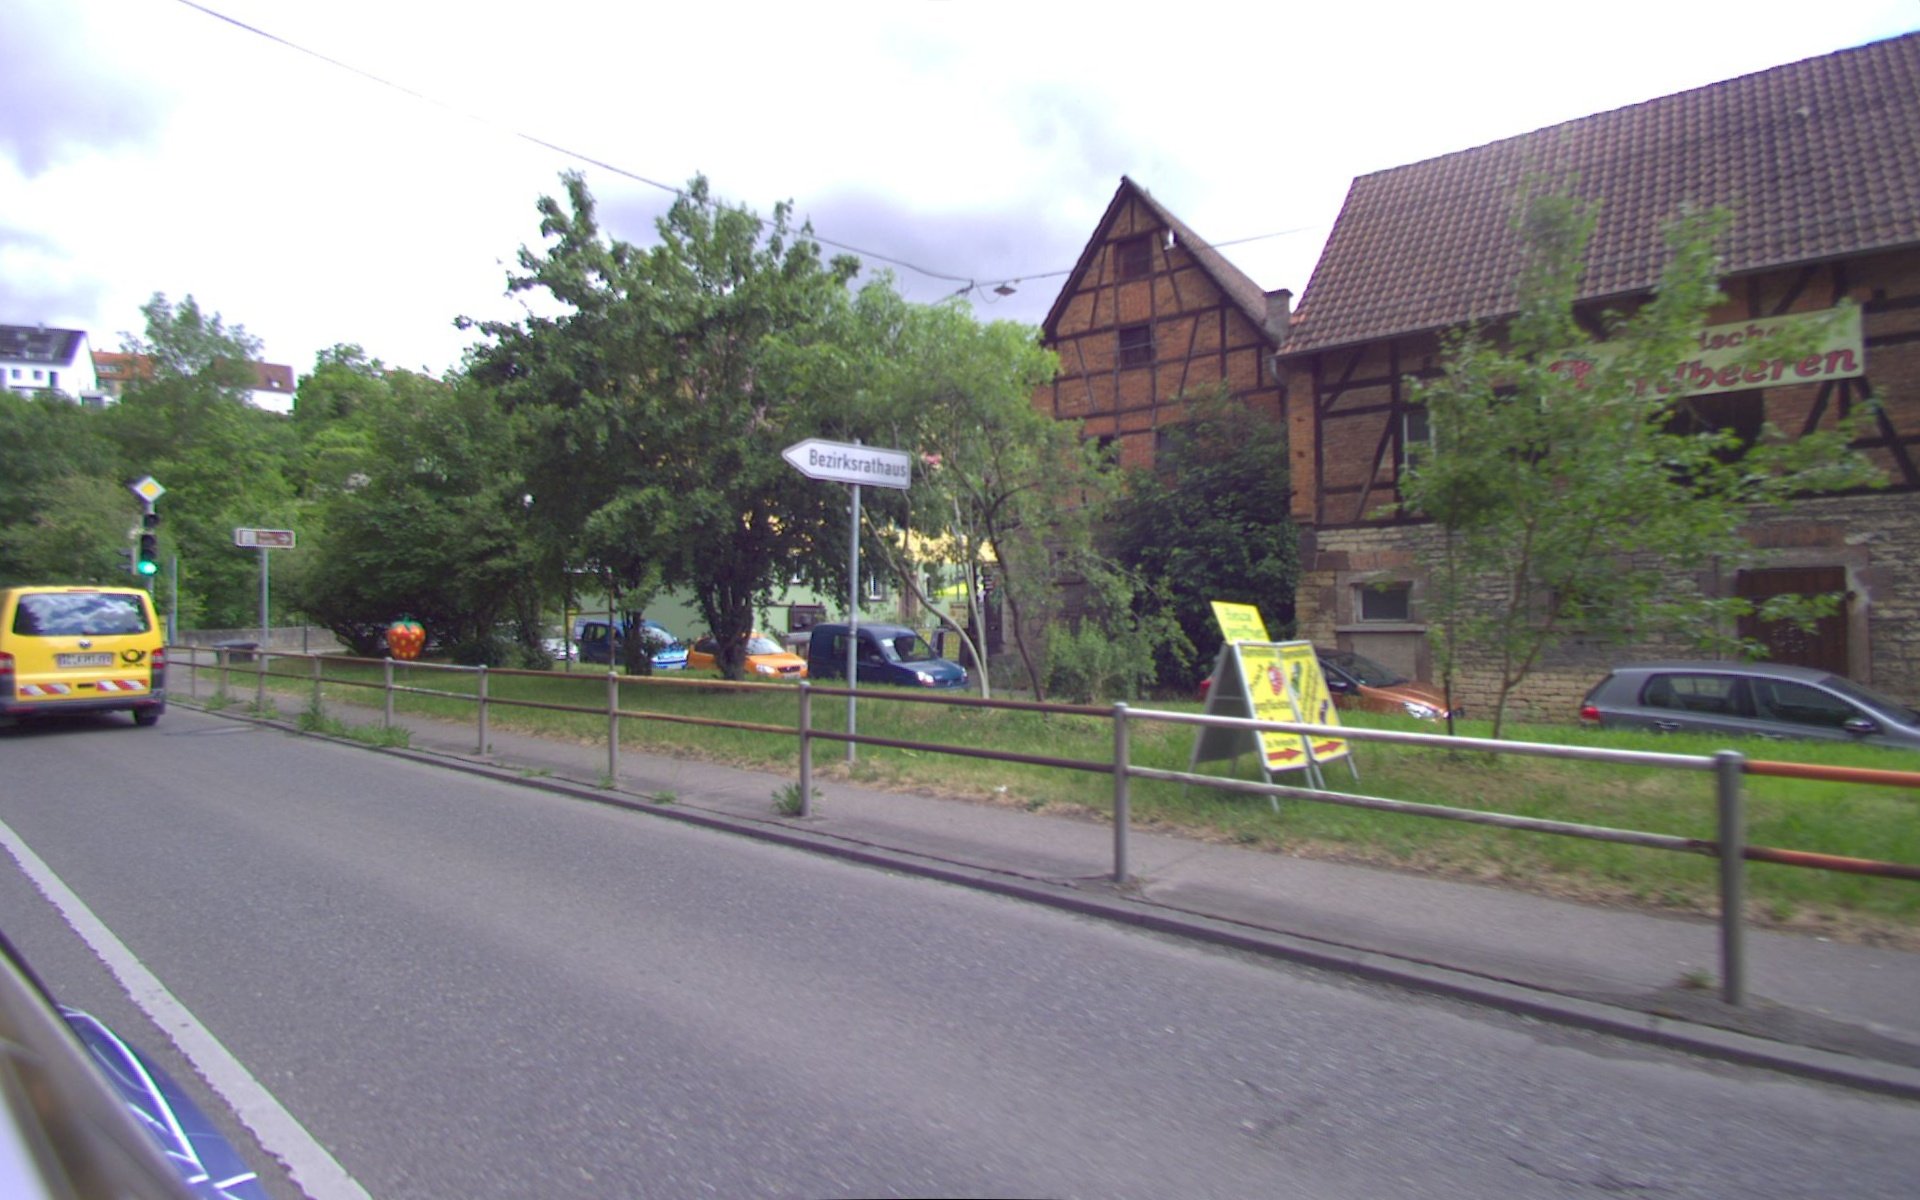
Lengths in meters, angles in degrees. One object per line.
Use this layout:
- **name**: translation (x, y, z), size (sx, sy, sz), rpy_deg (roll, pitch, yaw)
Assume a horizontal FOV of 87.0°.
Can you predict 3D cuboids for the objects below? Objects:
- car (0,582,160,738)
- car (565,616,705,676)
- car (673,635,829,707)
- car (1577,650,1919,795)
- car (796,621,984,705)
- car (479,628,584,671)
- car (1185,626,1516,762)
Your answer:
- **car**: translation (-13.287, 0.778, 14.660), size (4.766, 1.945, 1.826), rpy_deg (-1, -1, 41)
- **car**: translation (-9.578, 1.320, 29.669), size (4.448, 1.630, 1.972), rpy_deg (-1, -3, 43)
- **car**: translation (-5.329, 1.717, 25.533), size (4.001, 1.630, 1.926), rpy_deg (-1, -3, 44)
- **car**: translation (9.105, 1.216, 10.737), size (1.970, 1.287, 4.004), rpy_deg (2, -3, -43)
- **car**: translation (-1.560, 1.279, 21.664), size (4.001, 1.630, 1.791), rpy_deg (-1, -3, 44)
- **car**: translation (-14.616, 1.651, 34.444), size (4.149, 1.355, 1.628), rpy_deg (-1, -3, 41)
- **car**: translation (5.393, 1.202, 14.308), size (4.001, 1.630, 1.791), rpy_deg (-1, -3, 44)
